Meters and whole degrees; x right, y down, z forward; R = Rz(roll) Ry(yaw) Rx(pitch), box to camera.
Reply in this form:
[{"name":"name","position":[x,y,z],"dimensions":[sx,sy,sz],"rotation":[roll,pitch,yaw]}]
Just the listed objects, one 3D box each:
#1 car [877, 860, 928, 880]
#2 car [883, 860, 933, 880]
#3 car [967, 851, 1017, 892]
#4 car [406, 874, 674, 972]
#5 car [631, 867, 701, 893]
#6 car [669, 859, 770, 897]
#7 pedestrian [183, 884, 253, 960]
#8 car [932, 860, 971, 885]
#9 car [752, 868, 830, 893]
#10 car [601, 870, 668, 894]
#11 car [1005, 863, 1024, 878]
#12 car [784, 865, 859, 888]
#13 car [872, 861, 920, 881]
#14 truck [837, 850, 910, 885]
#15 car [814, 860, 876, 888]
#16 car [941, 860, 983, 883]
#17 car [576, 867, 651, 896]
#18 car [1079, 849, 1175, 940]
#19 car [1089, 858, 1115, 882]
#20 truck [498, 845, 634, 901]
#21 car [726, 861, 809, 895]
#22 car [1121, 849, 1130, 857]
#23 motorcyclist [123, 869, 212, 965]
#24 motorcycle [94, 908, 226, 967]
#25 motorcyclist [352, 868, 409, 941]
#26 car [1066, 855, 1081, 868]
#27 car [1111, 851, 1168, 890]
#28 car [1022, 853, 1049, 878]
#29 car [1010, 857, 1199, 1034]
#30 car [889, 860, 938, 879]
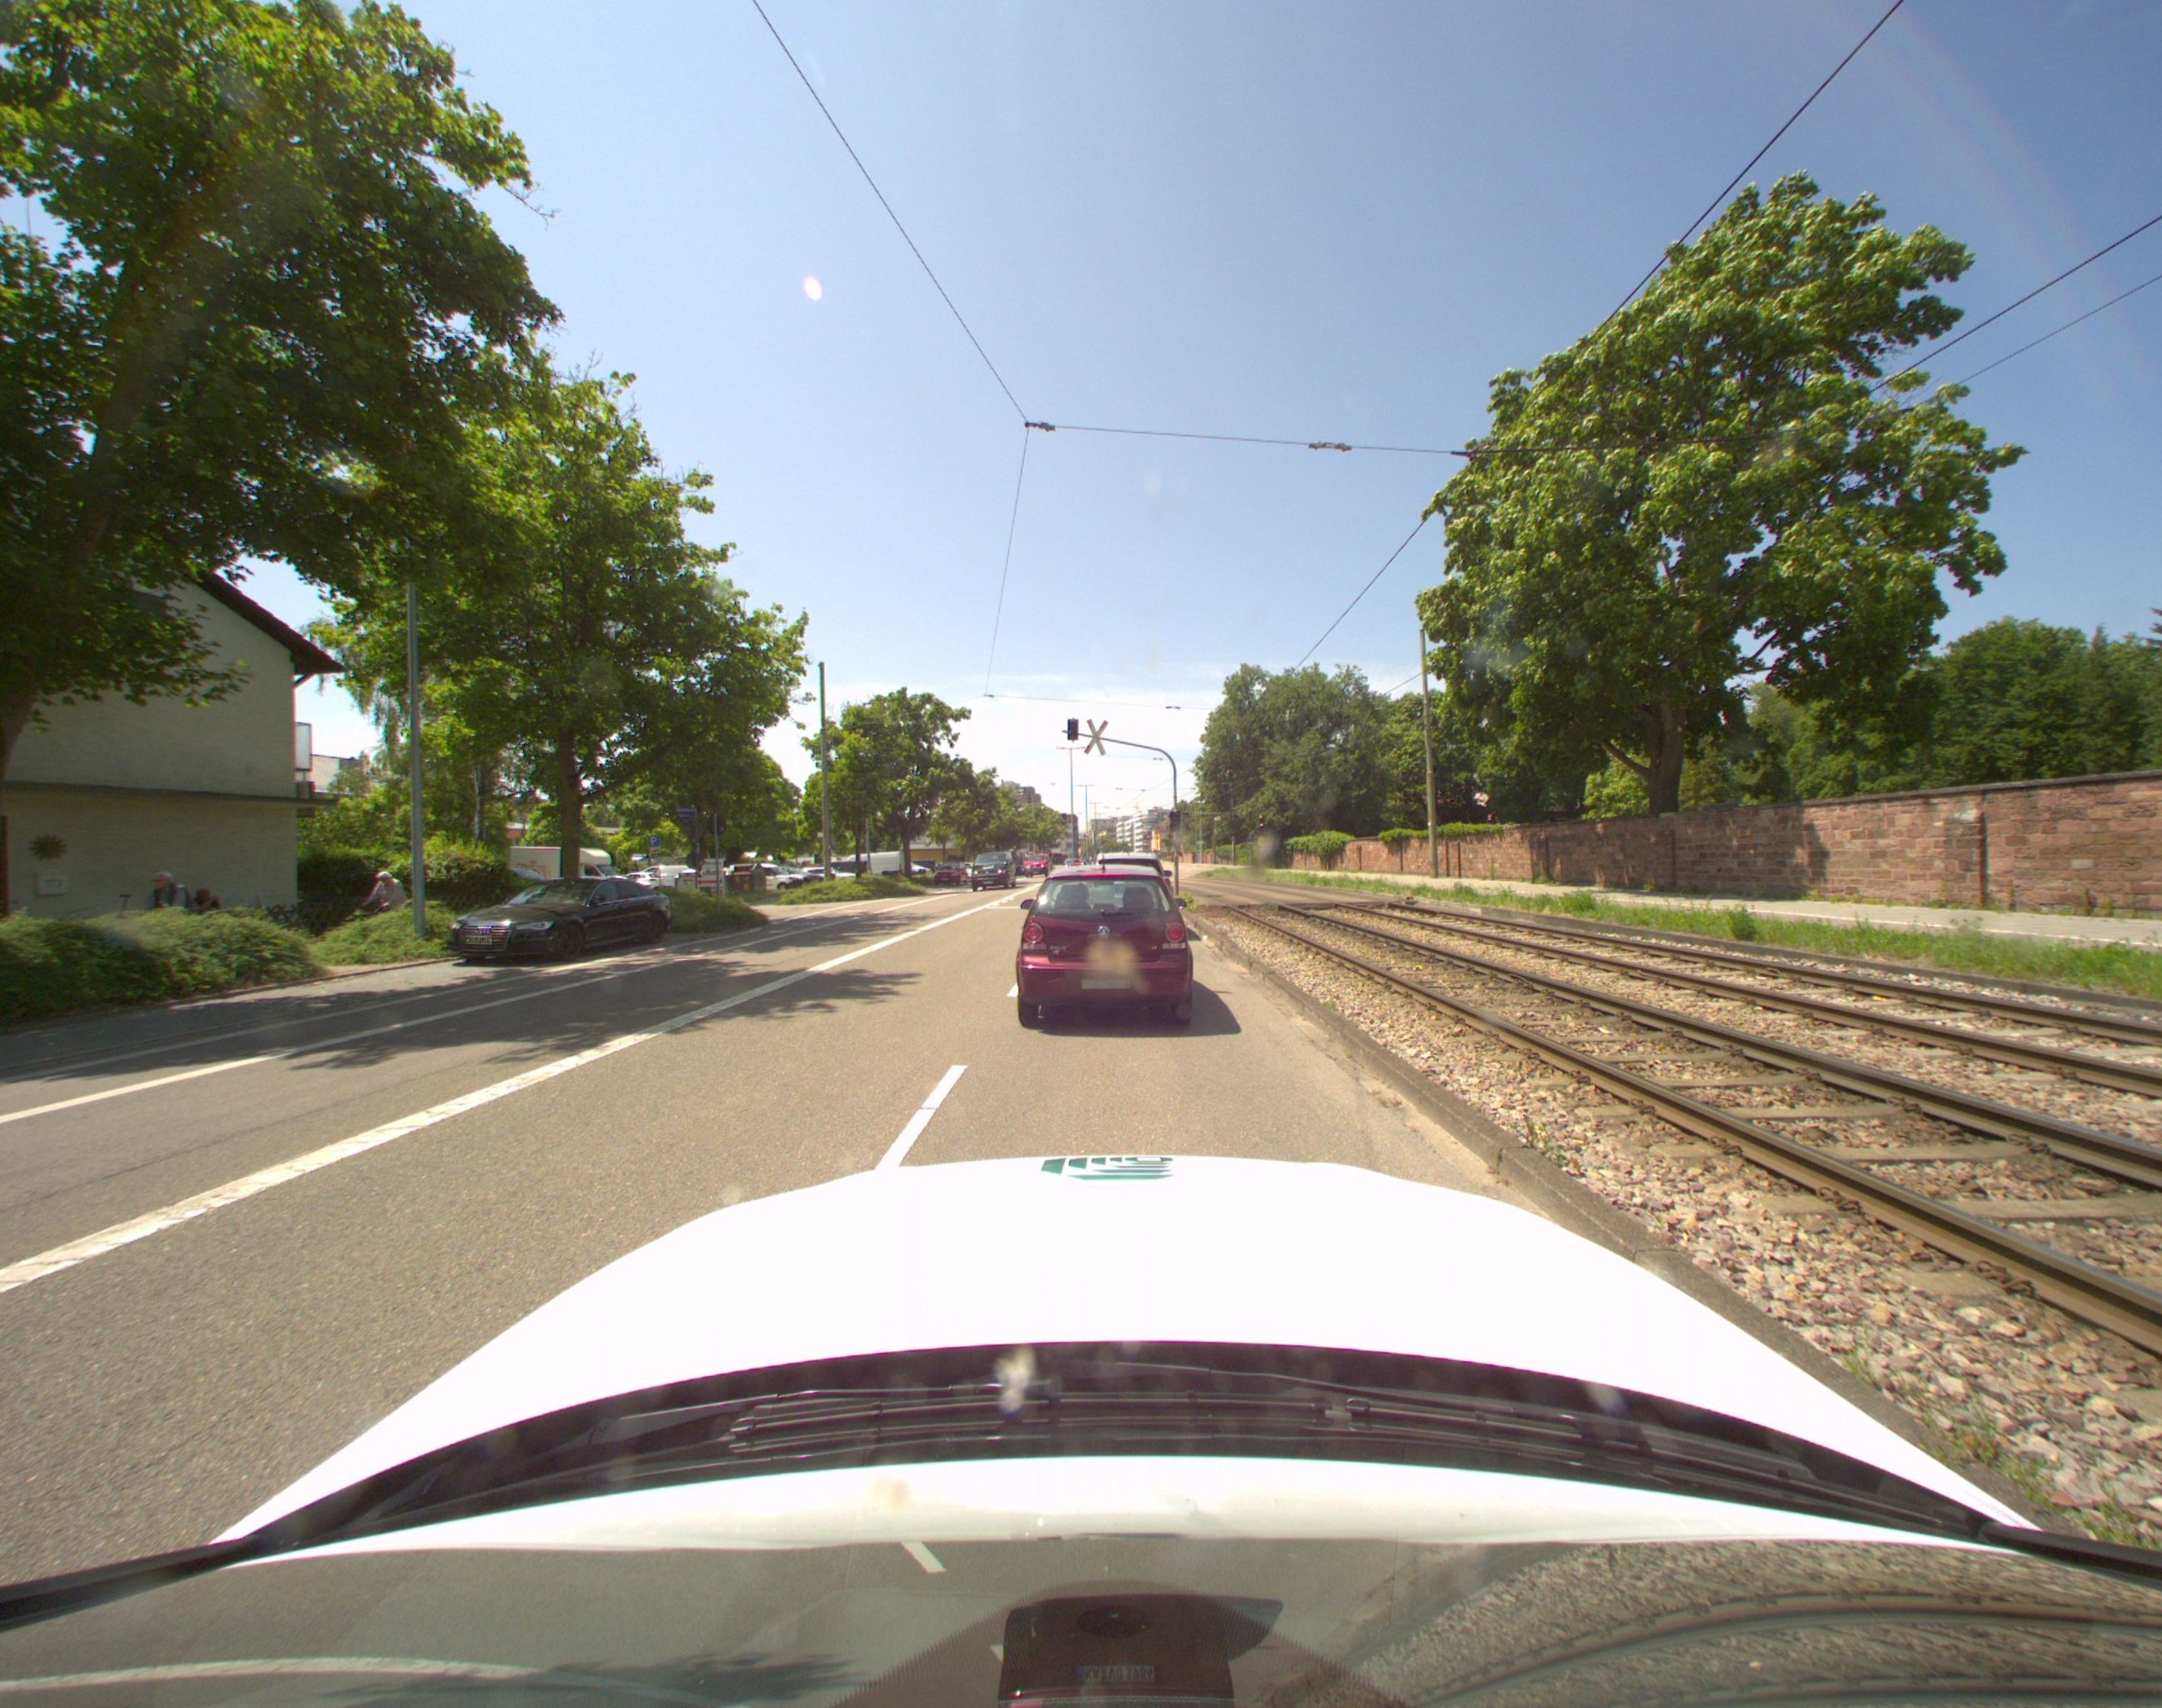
[{"name":"car","position":[-17.771,1.597,81.210],"dimensions":[4.702,1.813,1.796],"rotation":[-2,0,0]},{"name":"car","position":[-17.834,1.626,83.894],"dimensions":[4.702,1.813,1.796],"rotation":[-2,0,0]},{"name":"car","position":[-4.565,0.869,42.567],"dimensions":[1.911,1.910,4.572],"rotation":[-3,0,2]},{"name":"car","position":[-9.860,1.159,15.450],"dimensions":[1.888,1.456,4.808],"rotation":[0,0,0]},{"name":"car","position":[-30.736,1.914,60.430],"dimensions":[4.113,1.820,1.971],"rotation":[-1,-1,1]},{"name":"car","position":[-19.463,1.280,44.026],"dimensions":[4.437,1.857,2.059],"rotation":[-2,0,-3]},{"name":"pedestrian","position":[-17.799,1.387,16.802],"dimensions":[0.789,1.510,0.610],"rotation":[-2,0,8]},{"name":"car","position":[-8.418,1.190,53.337],"dimensions":[1.664,1.546,3.731],"rotation":[0,-1,4]},{"name":"car","position":[-18.450,1.651,51.986],"dimensions":[4.185,1.403,2.079],"rotation":[-2,0,-2]},{"name":"car","position":[-31.816,1.978,58.086],"dimensions":[3.733,1.576,1.733],"rotation":[-1,0,1]},{"name":"car","position":[-6.617,1.618,81.697],"dimensions":[1.399,1.440,3.842],"rotation":[2,0,2]},{"name":"car","position":[-18.958,1.663,59.717],"dimensions":[4.745,1.488,2.058],"rotation":[-2,0,0]},{"name":"car","position":[-17.871,1.600,78.756],"dimensions":[4.195,1.765,1.857],"rotation":[-2,0,0]},{"name":"truck","position":[-17.919,1.158,70.530],"dimensions":[5.555,2.759,2.434],"rotation":[-2,0,3]},{"name":"car","position":[-18.147,1.508,62.727],"dimensions":[4.195,1.995,1.857],"rotation":[-2,0,0]},{"name":"car","position":[-8.437,1.209,58.182],"dimensions":[1.710,1.427,4.778],"rotation":[-5,0,5]},{"name":"car","position":[-31.657,1.861,55.191],"dimensions":[4.113,1.820,1.647],"rotation":[-1,0,1]},{"name":"car","position":[0.864,0.765,17.294],"dimensions":[1.789,1.683,3.999],"rotation":[0,0,0]},{"name":"car","position":[1.365,1.018,52.090],"dimensions":[1.544,1.448,3.415],"rotation":[0,0,4]},{"name":"truck","position":[-31.800,1.155,50.411],"dimensions":[6.954,3.227,2.150],"rotation":[-1,0,0]},{"name":"car","position":[-18.739,1.443,48.772],"dimensions":[4.247,1.835,1.675],"rotation":[-2,0,4]},{"name":"car","position":[11.205,-0.234,206.393],"dimensions":[1.914,1.910,4.566],"rotation":[-2,0,-3]},{"name":"motorcyclist","position":[-14.996,1.014,13.386],"dimensions":[0.584,1.503,0.726],"rotation":[1,0,3]},{"name":"motorcycle","position":[-15.014,1.343,13.324],"dimensions":[0.524,0.825,1.372],"rotation":[1,0,3]},{"name":"motorcyclist","position":[-14.801,1.053,17.226],"dimensions":[0.584,1.503,0.663],"rotation":[1,0,3]},{"name":"car","position":[-1.008,1.018,109.674],"dimensions":[1.731,1.657,4.068],"rotation":[-3,0,2]},{"name":"car","position":[2.614,0.692,35.644],"dimensions":[1.761,1.630,4.016],"rotation":[-1,0,15]},{"name":"car","position":[-3.880,0.951,69.928],"dimensions":[1.892,1.926,4.819],"rotation":[-3,0,0]},{"name":"car","position":[0.260,0.788,8.945],"dimensions":[1.603,1.498,4.001],"rotation":[0,0,2]},{"name":"car","position":[-17.704,1.626,86.237],"dimensions":[4.702,1.813,1.796],"rotation":[-2,0,0]}]
